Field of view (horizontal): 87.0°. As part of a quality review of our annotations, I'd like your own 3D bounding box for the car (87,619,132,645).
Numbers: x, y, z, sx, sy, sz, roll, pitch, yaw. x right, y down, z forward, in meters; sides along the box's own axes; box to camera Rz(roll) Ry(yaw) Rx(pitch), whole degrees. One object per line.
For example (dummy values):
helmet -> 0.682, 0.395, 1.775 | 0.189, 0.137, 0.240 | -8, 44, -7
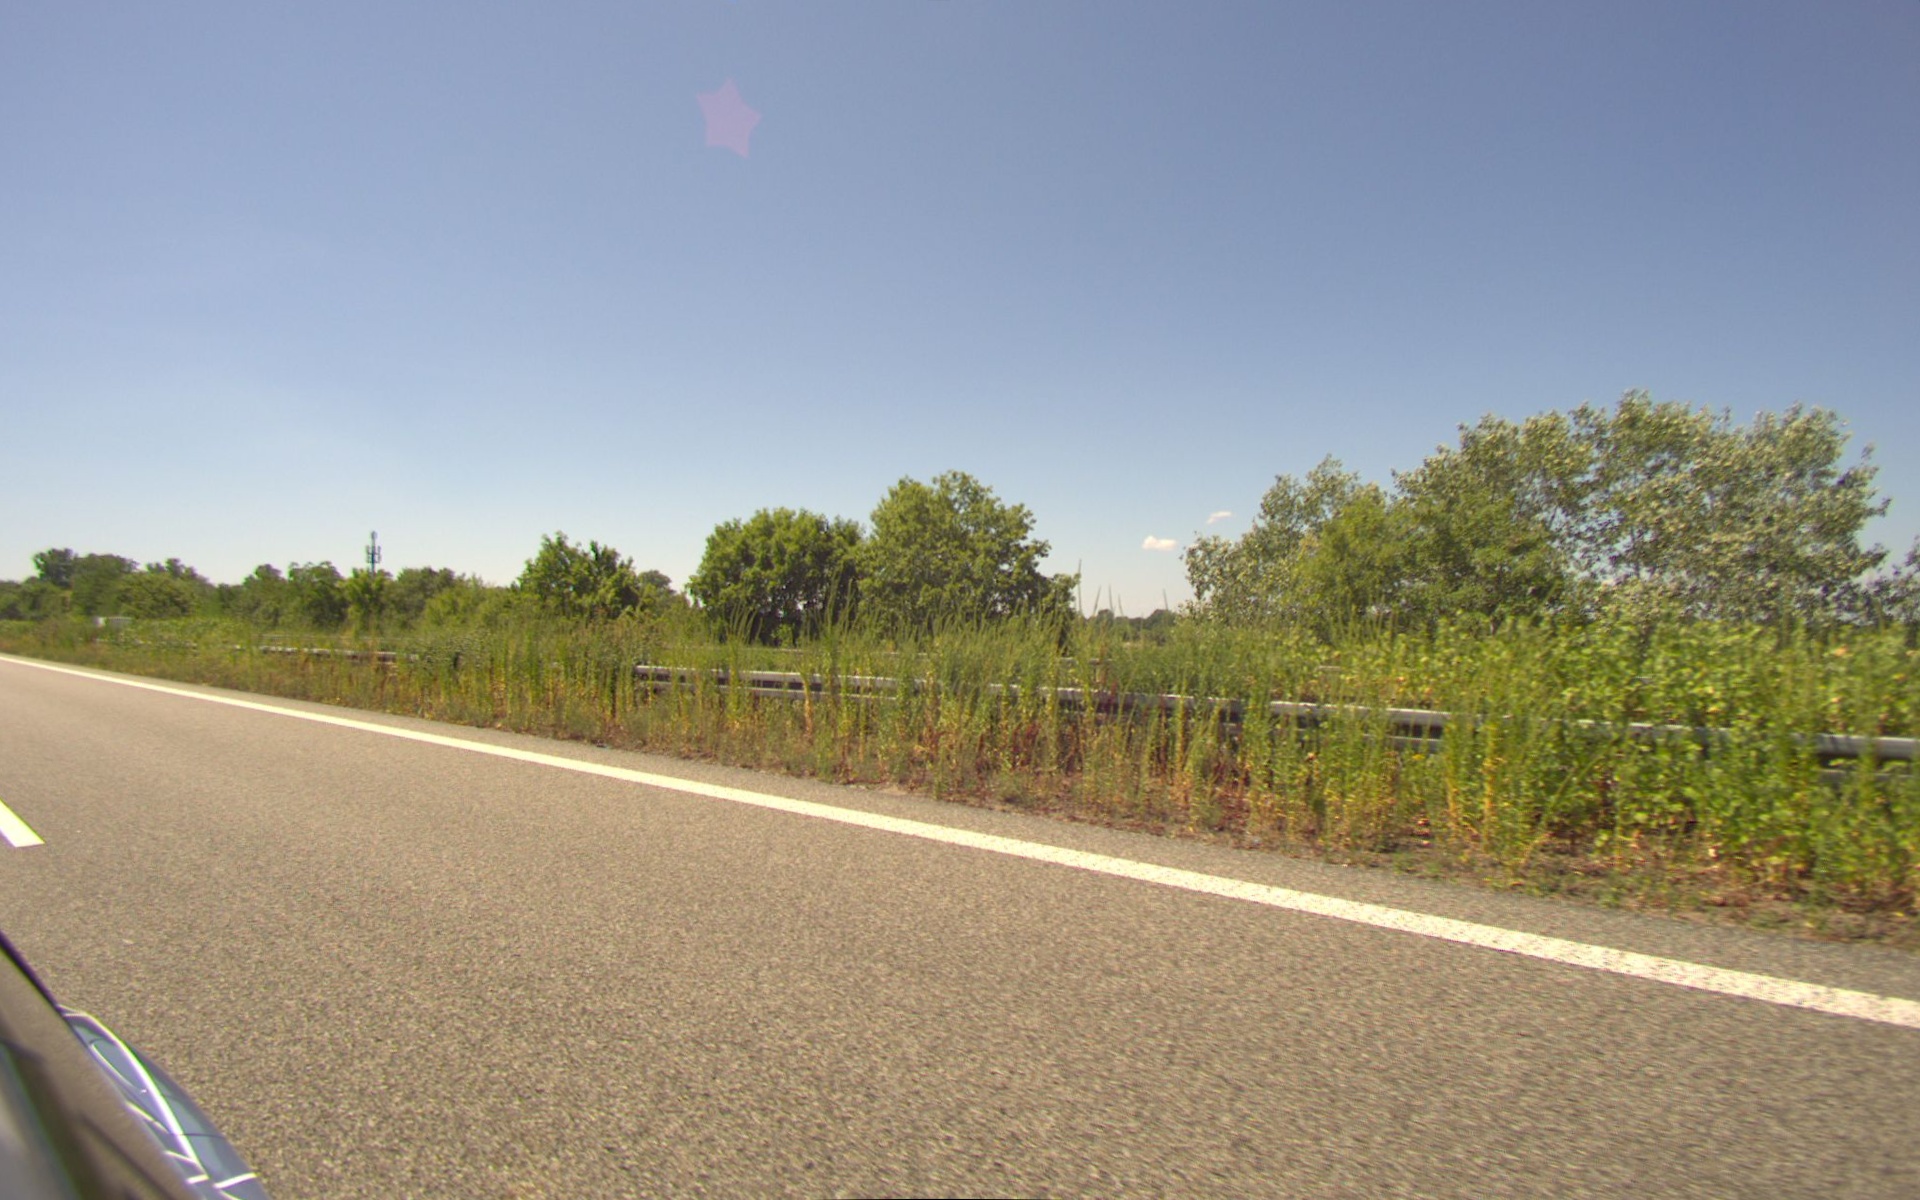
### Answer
car -> -69.672, 2.620, 82.907 | 5.269, 2.005, 1.973 | -1, 0, 41
